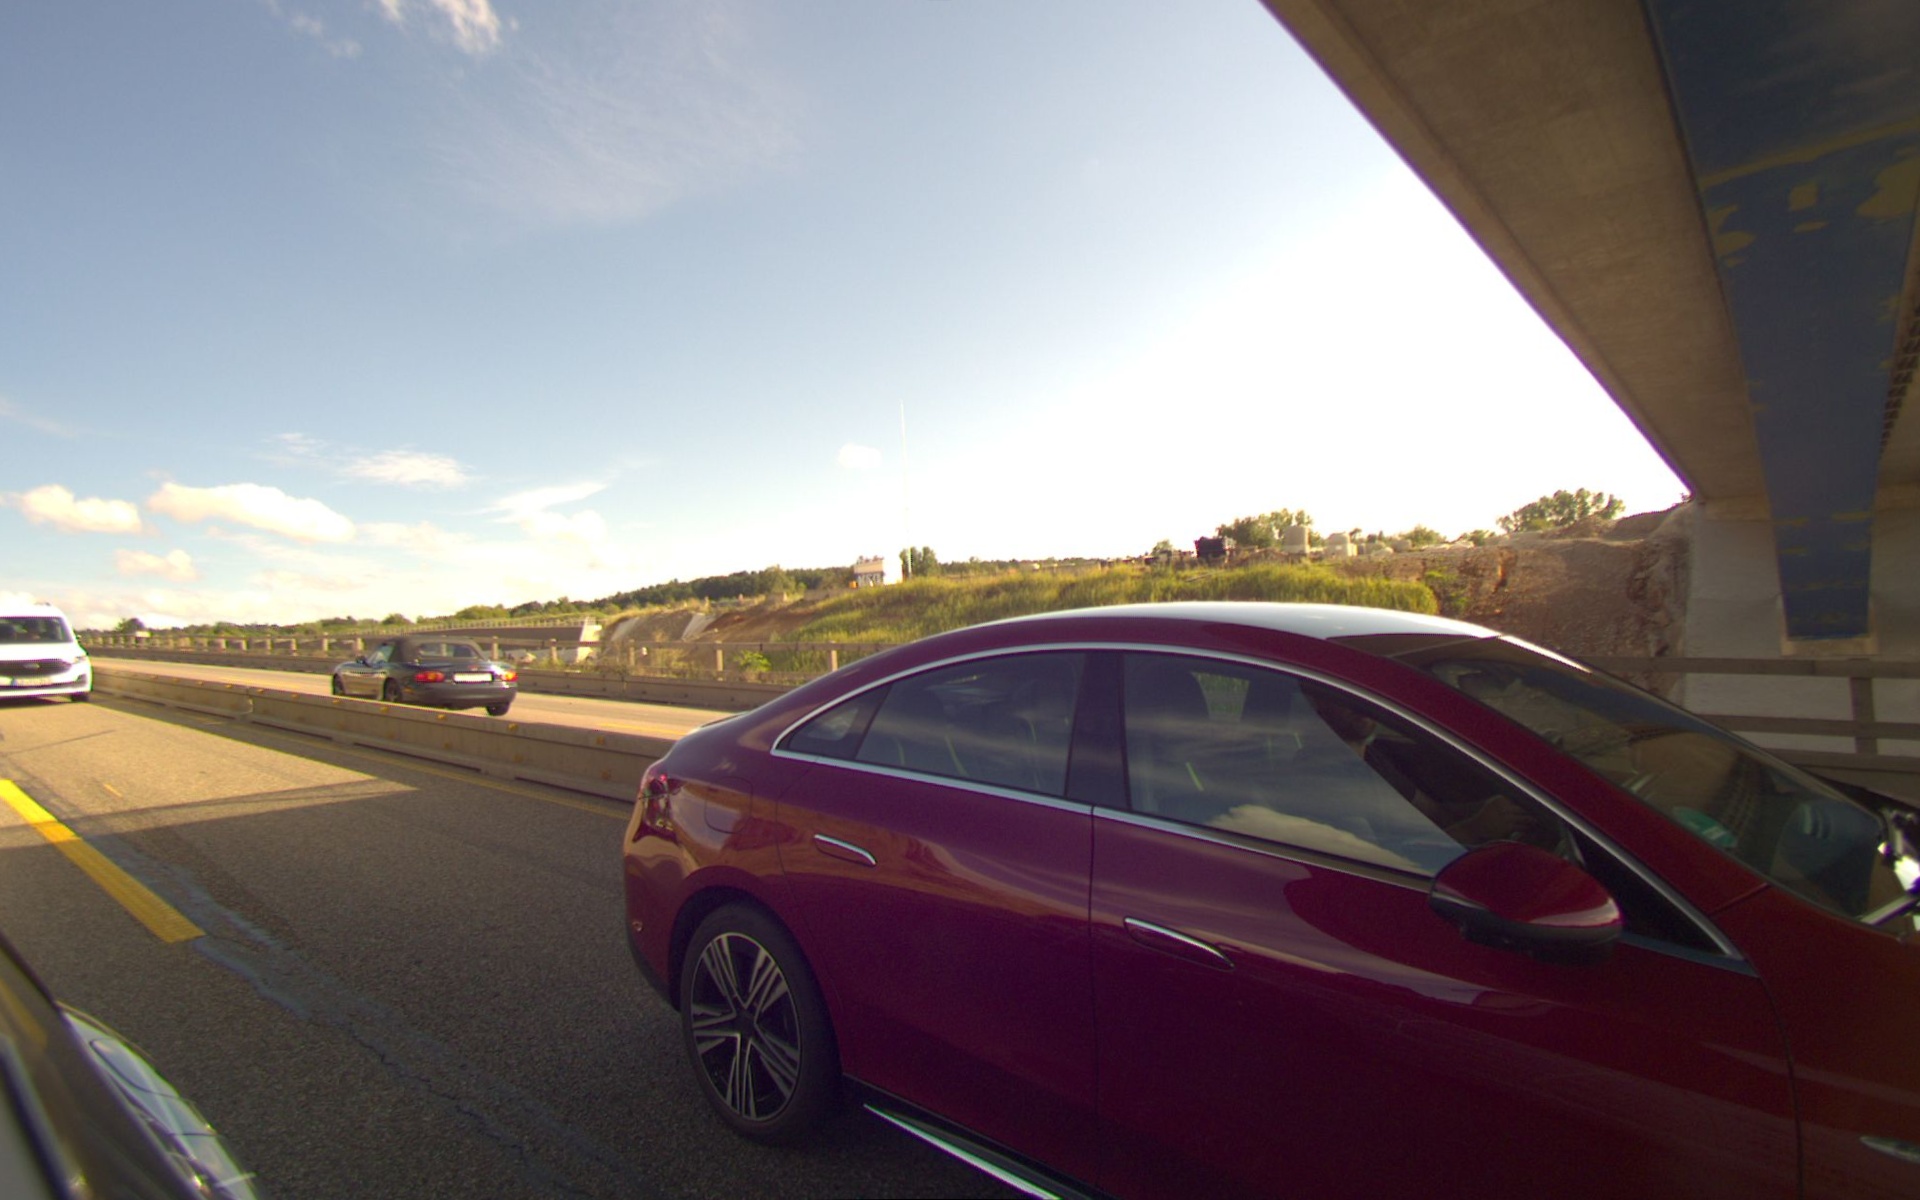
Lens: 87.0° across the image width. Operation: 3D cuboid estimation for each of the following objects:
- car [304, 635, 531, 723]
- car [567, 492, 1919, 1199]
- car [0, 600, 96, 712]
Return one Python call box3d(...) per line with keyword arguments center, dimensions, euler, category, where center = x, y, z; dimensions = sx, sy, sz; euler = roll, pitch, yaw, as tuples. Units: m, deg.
box3d(center=(-8.378, 1.144, 15.476), dimensions=(4.215, 1.164, 1.651), euler=(-2, -4, 41), category="car")
box3d(center=(1.102, 0.638, 2.423), dimensions=(4.681, 1.503, 1.804), euler=(-2, -1, 40), category="car")
box3d(center=(-17.522, 0.995, 18.556), dimensions=(4.452, 1.837, 1.805), euler=(-2, 0, 40), category="car")
